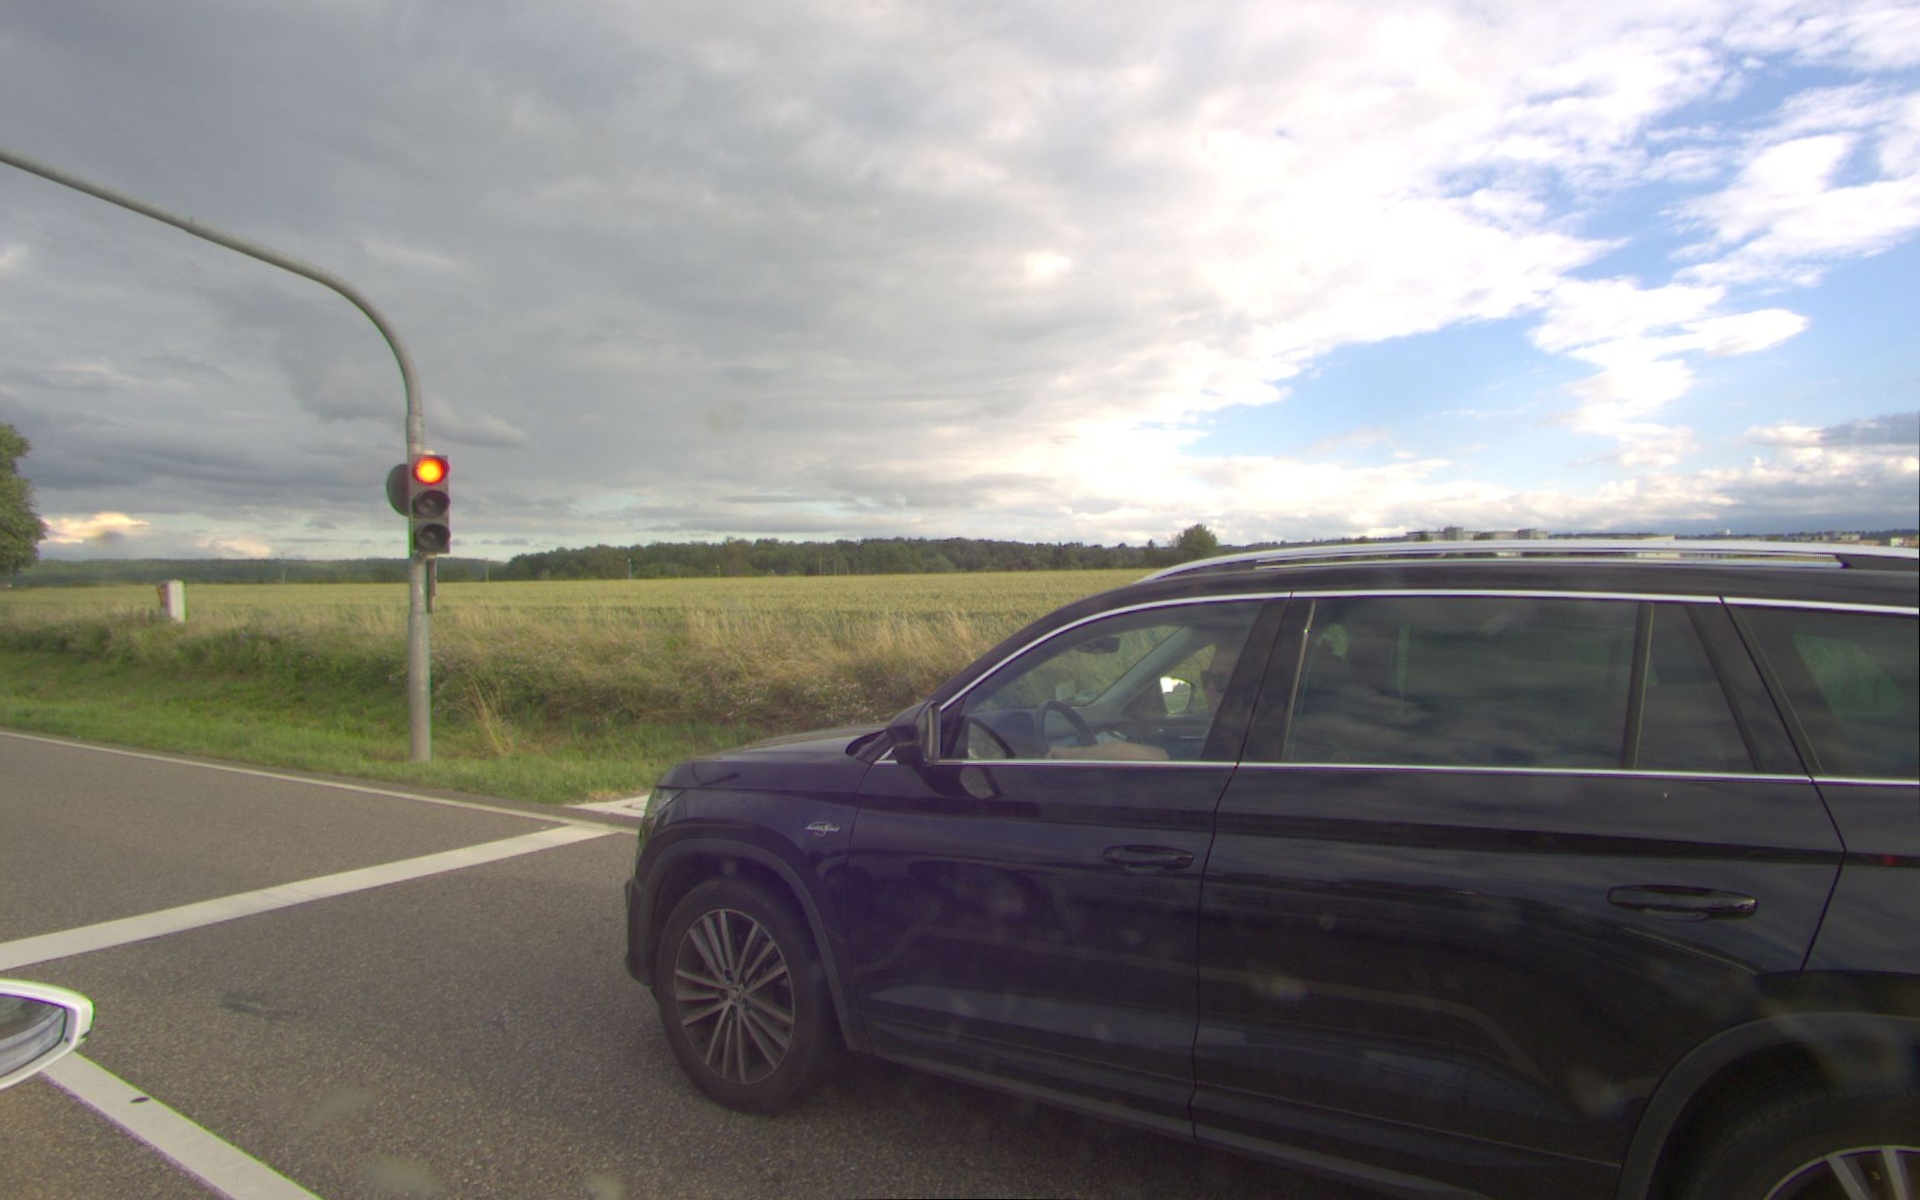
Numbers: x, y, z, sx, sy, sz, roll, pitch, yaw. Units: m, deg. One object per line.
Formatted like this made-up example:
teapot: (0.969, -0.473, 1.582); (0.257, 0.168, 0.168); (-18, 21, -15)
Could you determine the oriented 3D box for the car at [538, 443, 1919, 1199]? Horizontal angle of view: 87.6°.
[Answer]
car: (0.896, 0.674, 3.089); (4.492, 1.730, 1.833); (-1, -2, 32)
